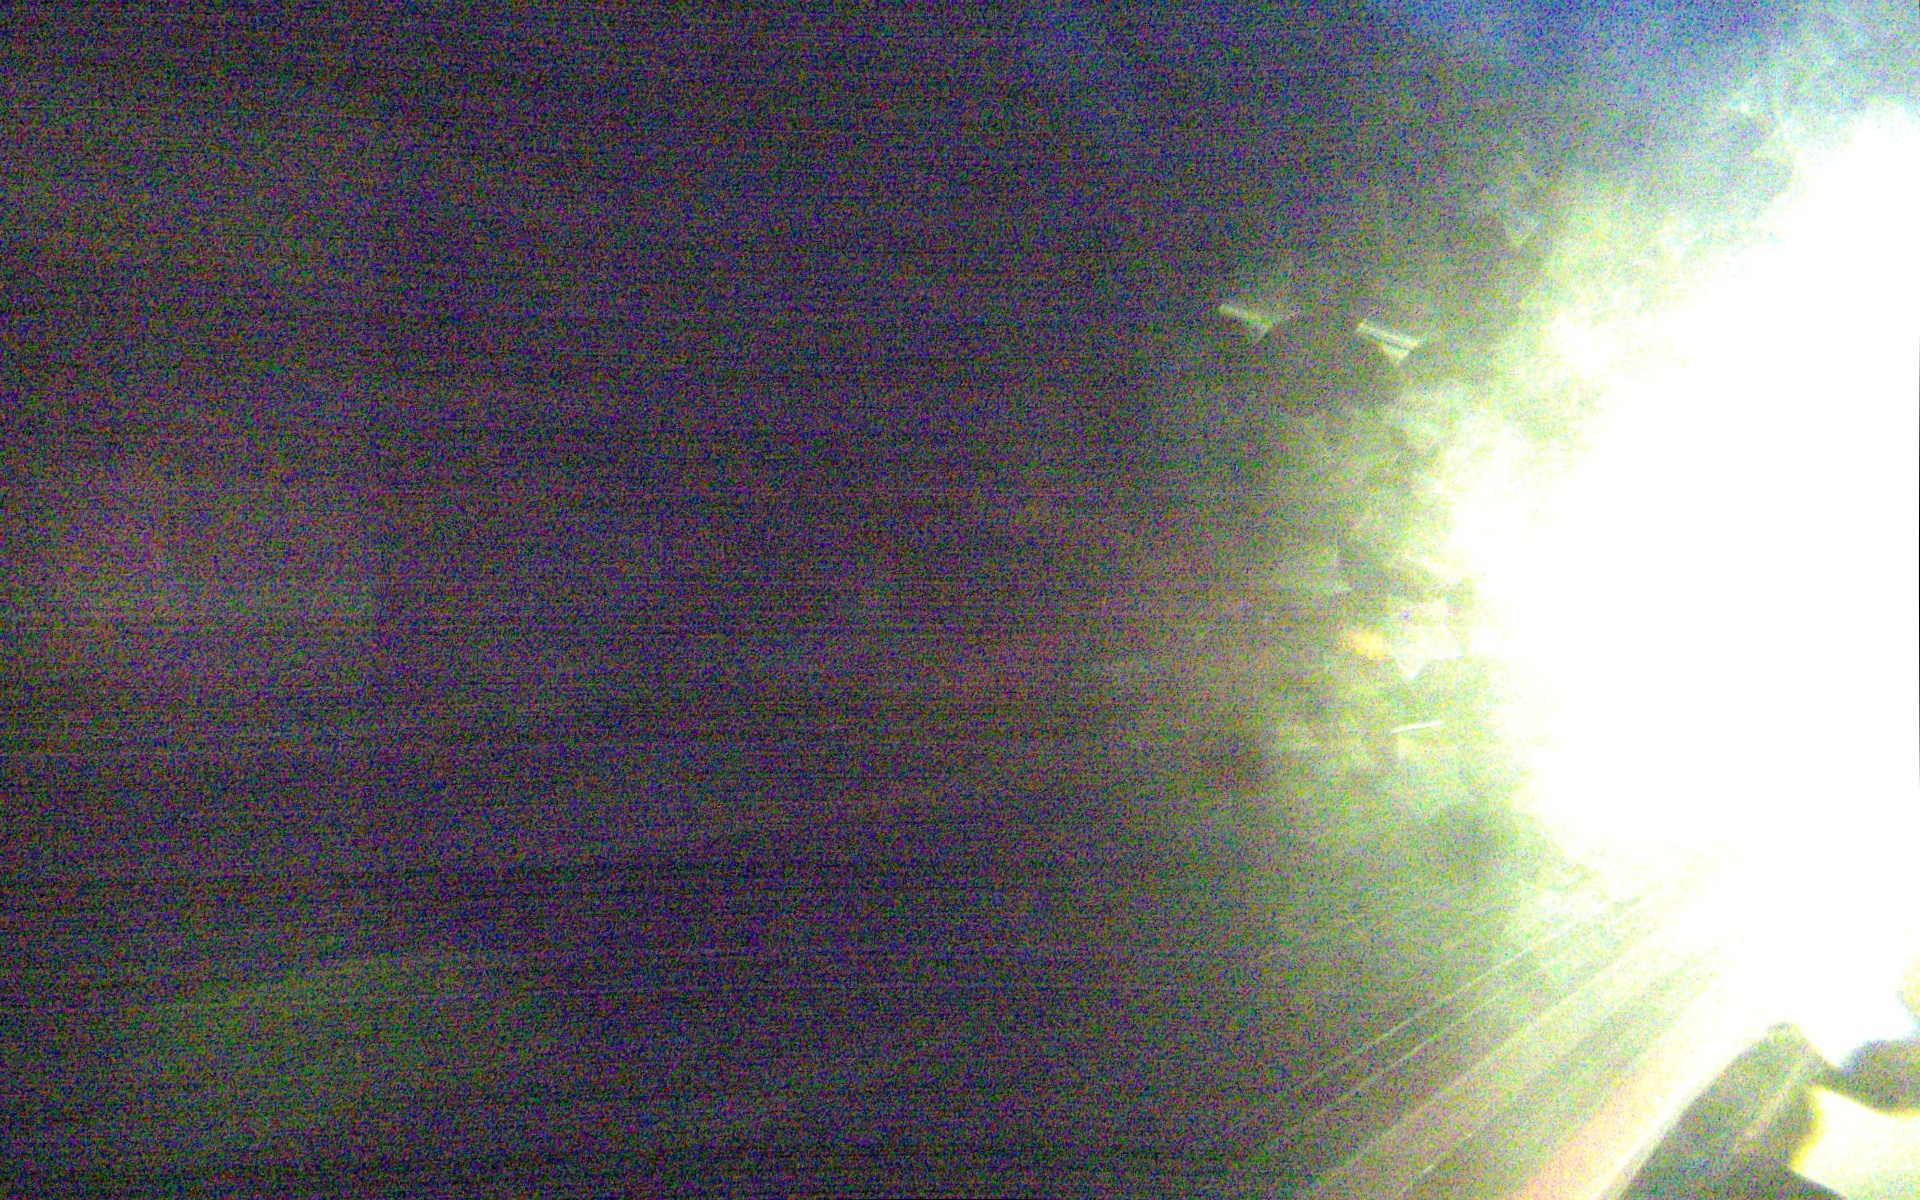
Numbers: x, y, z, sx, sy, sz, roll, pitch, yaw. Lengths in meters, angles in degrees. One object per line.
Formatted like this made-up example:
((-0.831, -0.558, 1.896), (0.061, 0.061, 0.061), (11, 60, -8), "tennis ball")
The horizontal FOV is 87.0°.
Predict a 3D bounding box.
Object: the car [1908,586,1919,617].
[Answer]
((59.508, 0.082, 61.942), (1.700, 1.794, 3.948), (1, 1, 36), "car")
